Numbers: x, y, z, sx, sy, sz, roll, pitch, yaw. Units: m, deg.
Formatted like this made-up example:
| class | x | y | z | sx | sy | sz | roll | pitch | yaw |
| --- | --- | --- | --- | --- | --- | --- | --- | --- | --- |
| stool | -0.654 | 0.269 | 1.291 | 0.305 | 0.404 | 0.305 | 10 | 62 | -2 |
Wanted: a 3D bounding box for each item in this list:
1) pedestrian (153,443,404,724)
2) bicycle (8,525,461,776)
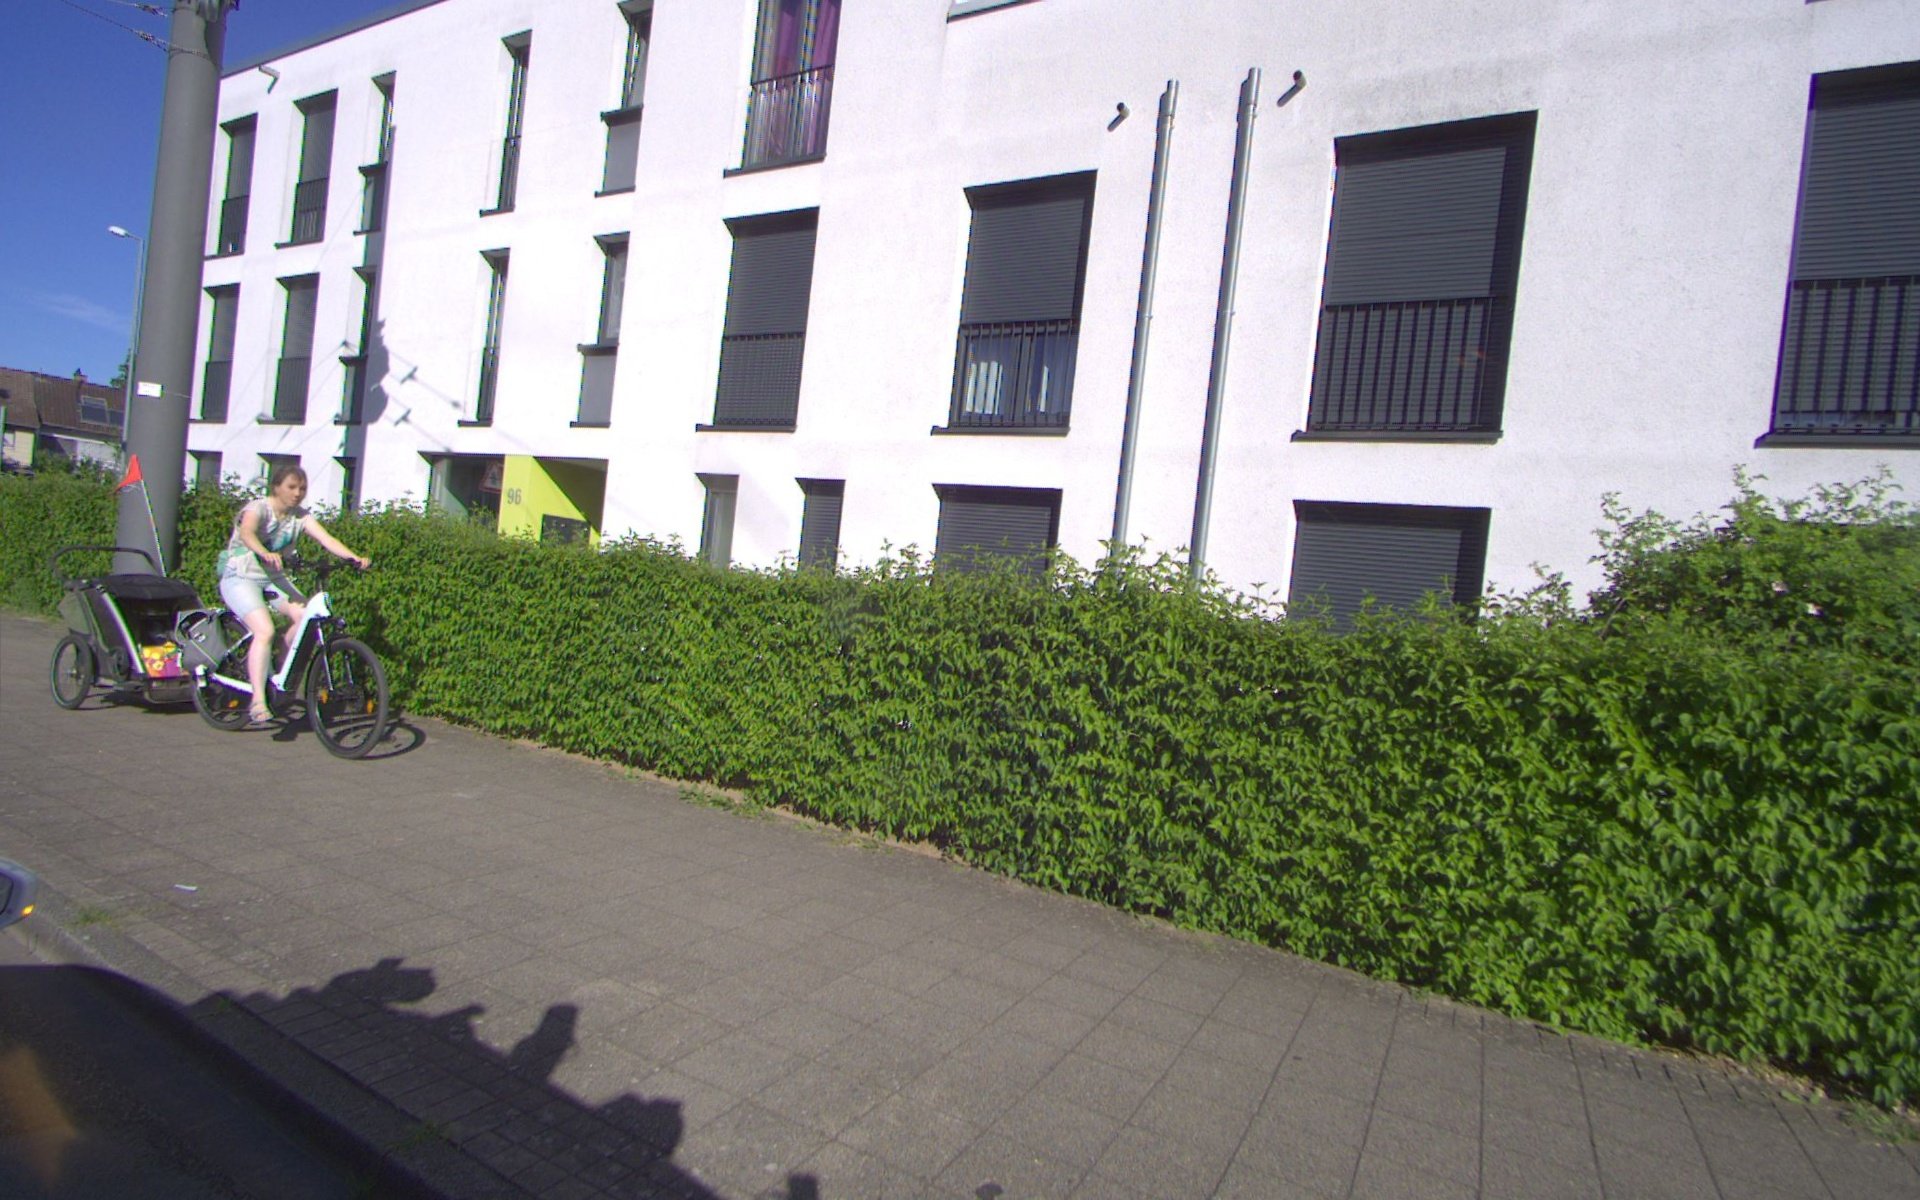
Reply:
| class | x | y | z | sx | sy | sz | roll | pitch | yaw |
| --- | --- | --- | --- | --- | --- | --- | --- | --- | --- |
| pedestrian | -4.338 | -0.098 | 6.445 | 0.839 | 1.614 | 0.913 | 6 | 1 | 23 |
| bicycle | -4.838 | 0.257 | 6.650 | 3.068 | 1.188 | 0.931 | 6 | 1 | 24 |
